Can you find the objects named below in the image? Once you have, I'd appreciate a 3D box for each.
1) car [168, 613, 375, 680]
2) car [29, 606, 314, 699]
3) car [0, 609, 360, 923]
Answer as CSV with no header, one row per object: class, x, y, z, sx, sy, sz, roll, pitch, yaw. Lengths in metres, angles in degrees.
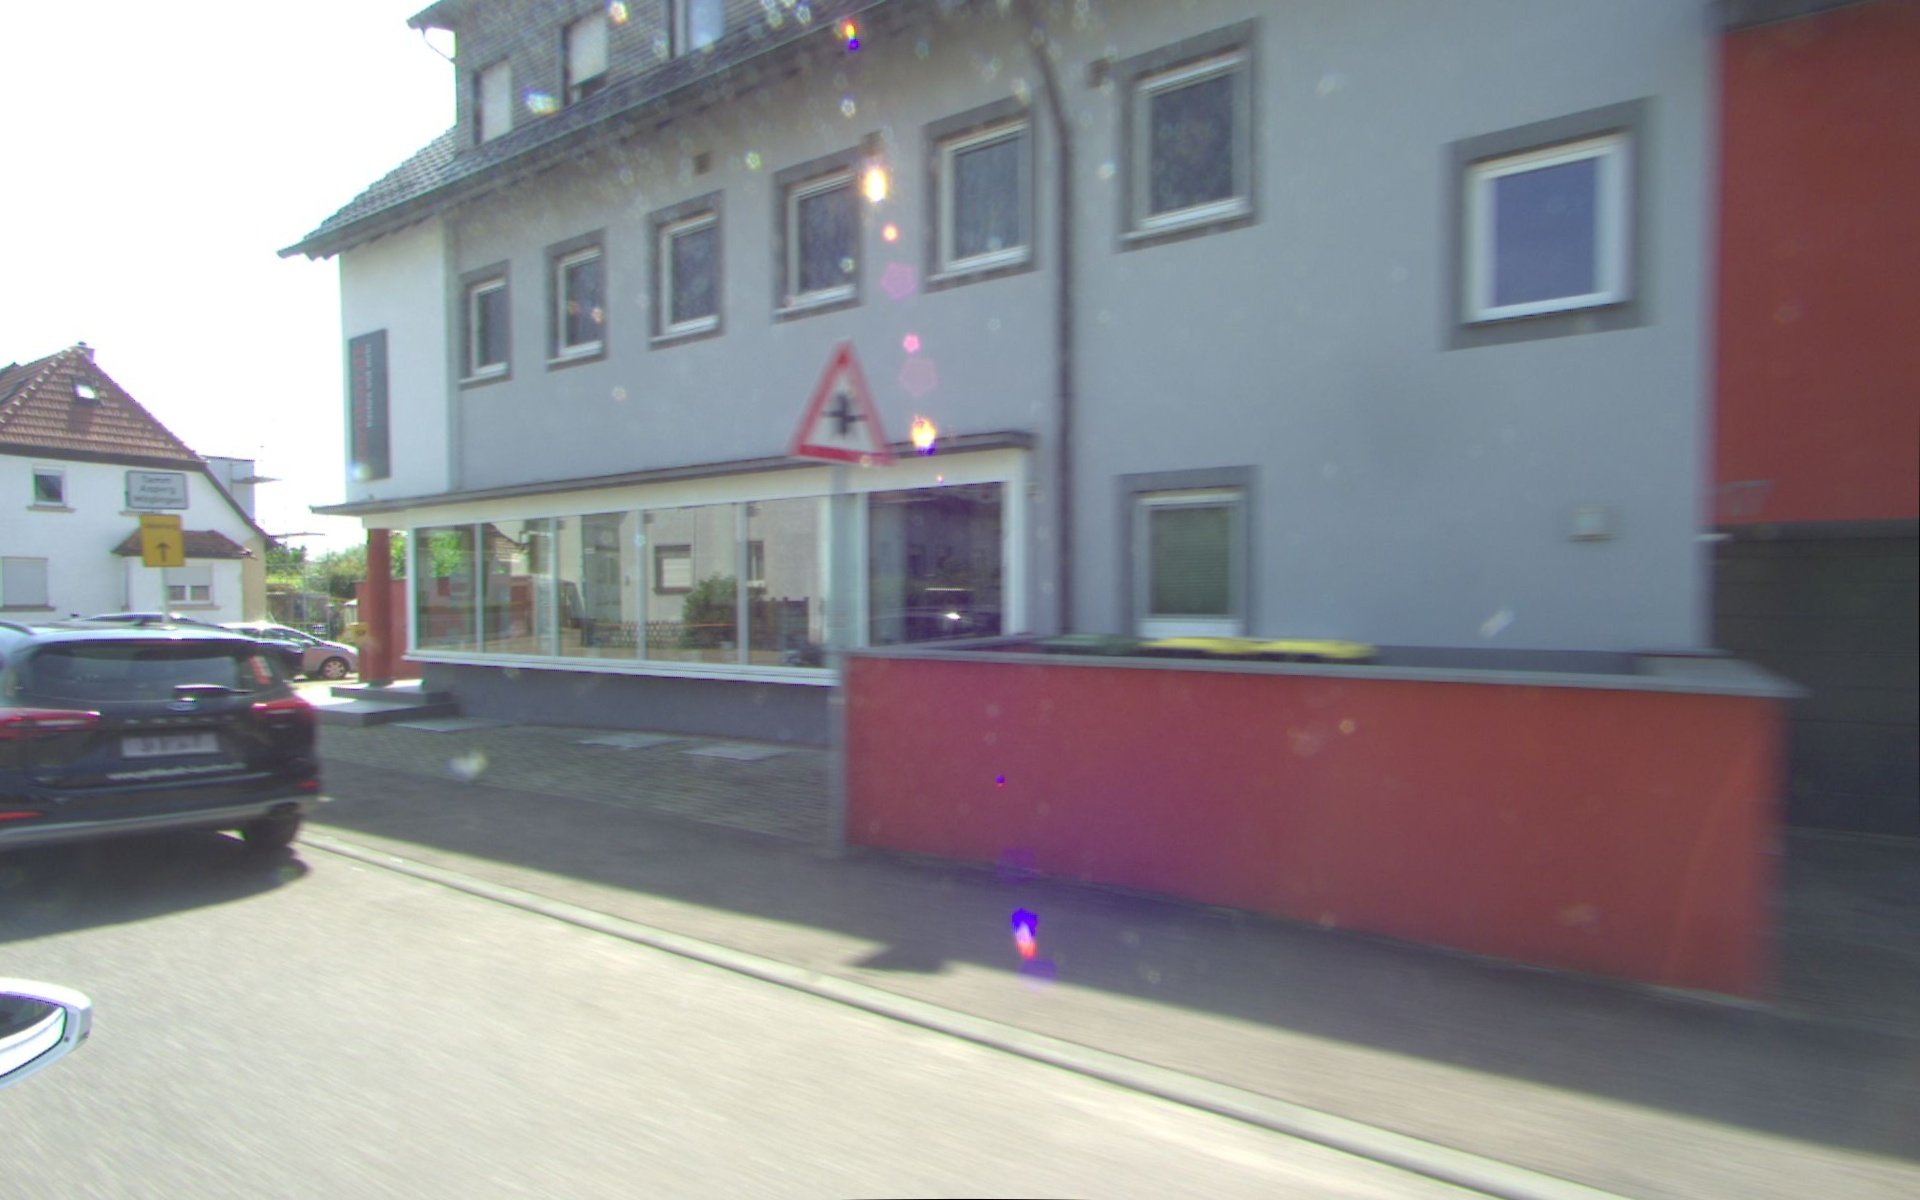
car,-17.064,1.088,24.975,1.673,1.523,3.972,0,-1,38
car,-15.805,0.979,20.257,1.826,1.675,4.274,0,-1,40
car,-6.059,0.862,6.827,4.346,1.546,1.757,-1,-2,35
